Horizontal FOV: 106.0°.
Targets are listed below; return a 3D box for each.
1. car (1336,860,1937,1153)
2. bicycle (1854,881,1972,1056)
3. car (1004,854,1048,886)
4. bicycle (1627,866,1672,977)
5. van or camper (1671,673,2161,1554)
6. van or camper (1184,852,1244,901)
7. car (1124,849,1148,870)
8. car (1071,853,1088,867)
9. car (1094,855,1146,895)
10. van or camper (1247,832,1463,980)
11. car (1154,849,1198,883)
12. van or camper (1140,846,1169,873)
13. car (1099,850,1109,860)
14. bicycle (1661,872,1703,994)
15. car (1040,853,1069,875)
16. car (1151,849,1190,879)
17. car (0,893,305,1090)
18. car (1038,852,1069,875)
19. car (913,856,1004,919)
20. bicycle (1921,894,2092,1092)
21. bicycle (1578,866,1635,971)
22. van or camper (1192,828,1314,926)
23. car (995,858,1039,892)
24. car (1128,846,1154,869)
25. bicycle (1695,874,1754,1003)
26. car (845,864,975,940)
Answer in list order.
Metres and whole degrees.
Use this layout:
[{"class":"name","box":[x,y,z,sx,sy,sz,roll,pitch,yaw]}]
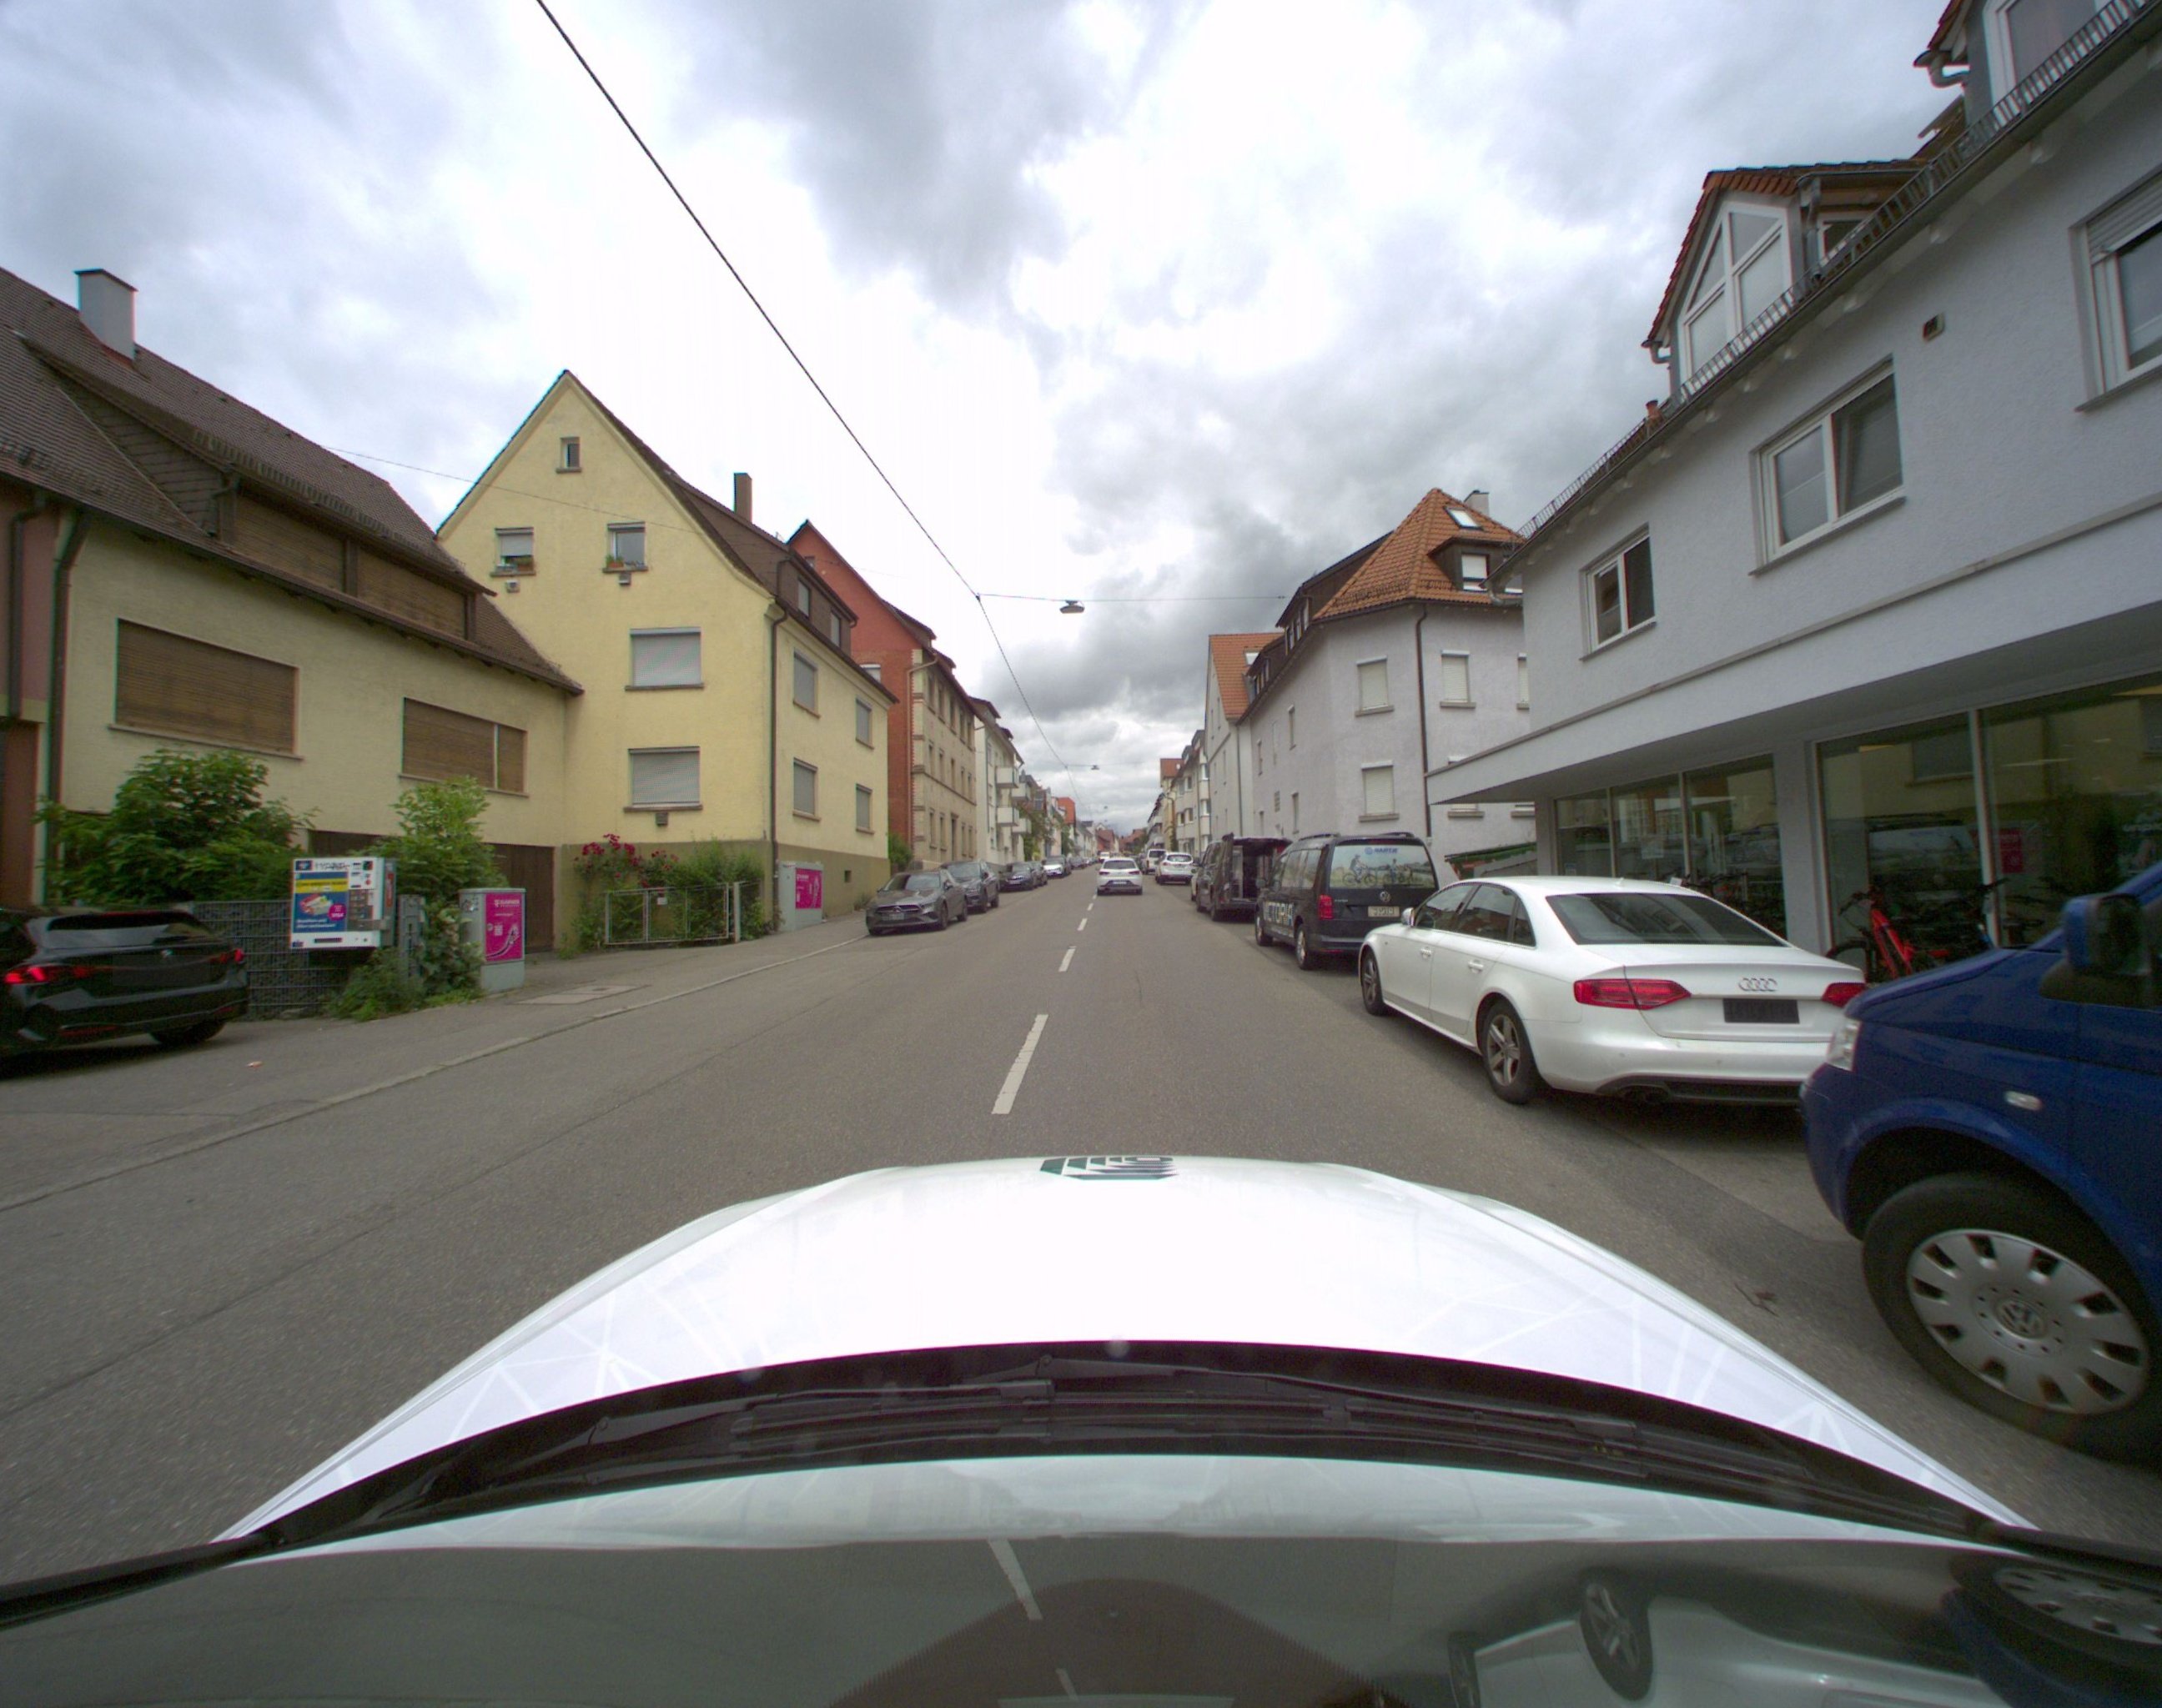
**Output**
[{"class":"car","box":[3.523,0.788,6.432,1.708,1.436,4.641,0,0,2]},{"class":"bicycle","box":[6.309,0.804,6.224,0.247,1.113,1.476,-3,0,32]},{"class":"car","box":[-3.096,0.889,46.661,1.986,1.651,4.002,-2,0,2]},{"class":"bicycle","box":[6.516,0.732,9.361,0.294,1.113,1.586,-3,0,32]},{"class":"van or camper","box":[3.286,0.555,0.853,1.919,1.925,4.832,-1,0,1]},{"class":"van or camper","box":[4.408,0.699,27.463,1.595,1.543,4.004,0,0,3]},{"class":"car","box":[5.483,0.524,81.650,1.987,2.013,3.999,-2,0,-1]},{"class":"car","box":[-0.140,0.795,105.663,1.986,1.651,4.181,-2,0,2]},{"class":"car","box":[1.567,0.784,32.397,1.932,1.439,4.003,-1,0,3]},{"class":"van or camper","box":[3.892,0.640,12.476,1.864,1.829,4.682,0,0,2]},{"class":"car","box":[4.899,0.597,42.460,1.934,1.693,4.001,1,0,1]},{"class":"van or camper","box":[5.803,0.393,64.637,1.934,2.054,4.562,-1,0,0]},{"class":"car","box":[4.970,0.176,172.402,1.986,2.013,4.003,-2,0,2]},{"class":"bicycle","box":[6.433,0.799,8.744,0.247,1.160,1.476,-3,-1,34]},{"class":"car","box":[-2.153,0.802,67.142,1.986,1.651,4.002,-2,0,2]},{"class":"car","box":[5.387,0.566,49.297,1.934,1.693,4.000,-1,0,0]},{"class":"car","box":[-10.049,1.208,7.358,4.212,1.472,2.001,-3,-2,3]},{"class":"car","box":[-2.076,0.714,62.051,1.986,1.651,4.002,-2,0,2]},{"class":"car","box":[-3.774,0.965,25.921,1.986,1.651,4.555,-5,0,1]},{"class":"bicycle","box":[6.407,0.889,5.704,0.335,1.113,1.476,-3,0,32]},{"class":"bicycle","box":[6.407,0.743,9.976,0.432,1.113,1.737,-3,0,29]},{"class":"van or camper","box":[4.051,0.485,20.285,1.986,2.065,5.947,0,0,2]},{"class":"car","box":[-3.181,1.035,41.315,1.635,1.473,4.181,-5,0,2]},{"class":"car","box":[5.506,0.311,75.235,1.987,2.013,3.999,-2,0,-1]},{"class":"bicycle","box":[6.423,0.793,8.157,0.247,1.113,1.476,-3,0,32]},{"class":"car","box":[-4.091,1.091,20.278,1.985,1.472,4.247,-5,0,3]}]
